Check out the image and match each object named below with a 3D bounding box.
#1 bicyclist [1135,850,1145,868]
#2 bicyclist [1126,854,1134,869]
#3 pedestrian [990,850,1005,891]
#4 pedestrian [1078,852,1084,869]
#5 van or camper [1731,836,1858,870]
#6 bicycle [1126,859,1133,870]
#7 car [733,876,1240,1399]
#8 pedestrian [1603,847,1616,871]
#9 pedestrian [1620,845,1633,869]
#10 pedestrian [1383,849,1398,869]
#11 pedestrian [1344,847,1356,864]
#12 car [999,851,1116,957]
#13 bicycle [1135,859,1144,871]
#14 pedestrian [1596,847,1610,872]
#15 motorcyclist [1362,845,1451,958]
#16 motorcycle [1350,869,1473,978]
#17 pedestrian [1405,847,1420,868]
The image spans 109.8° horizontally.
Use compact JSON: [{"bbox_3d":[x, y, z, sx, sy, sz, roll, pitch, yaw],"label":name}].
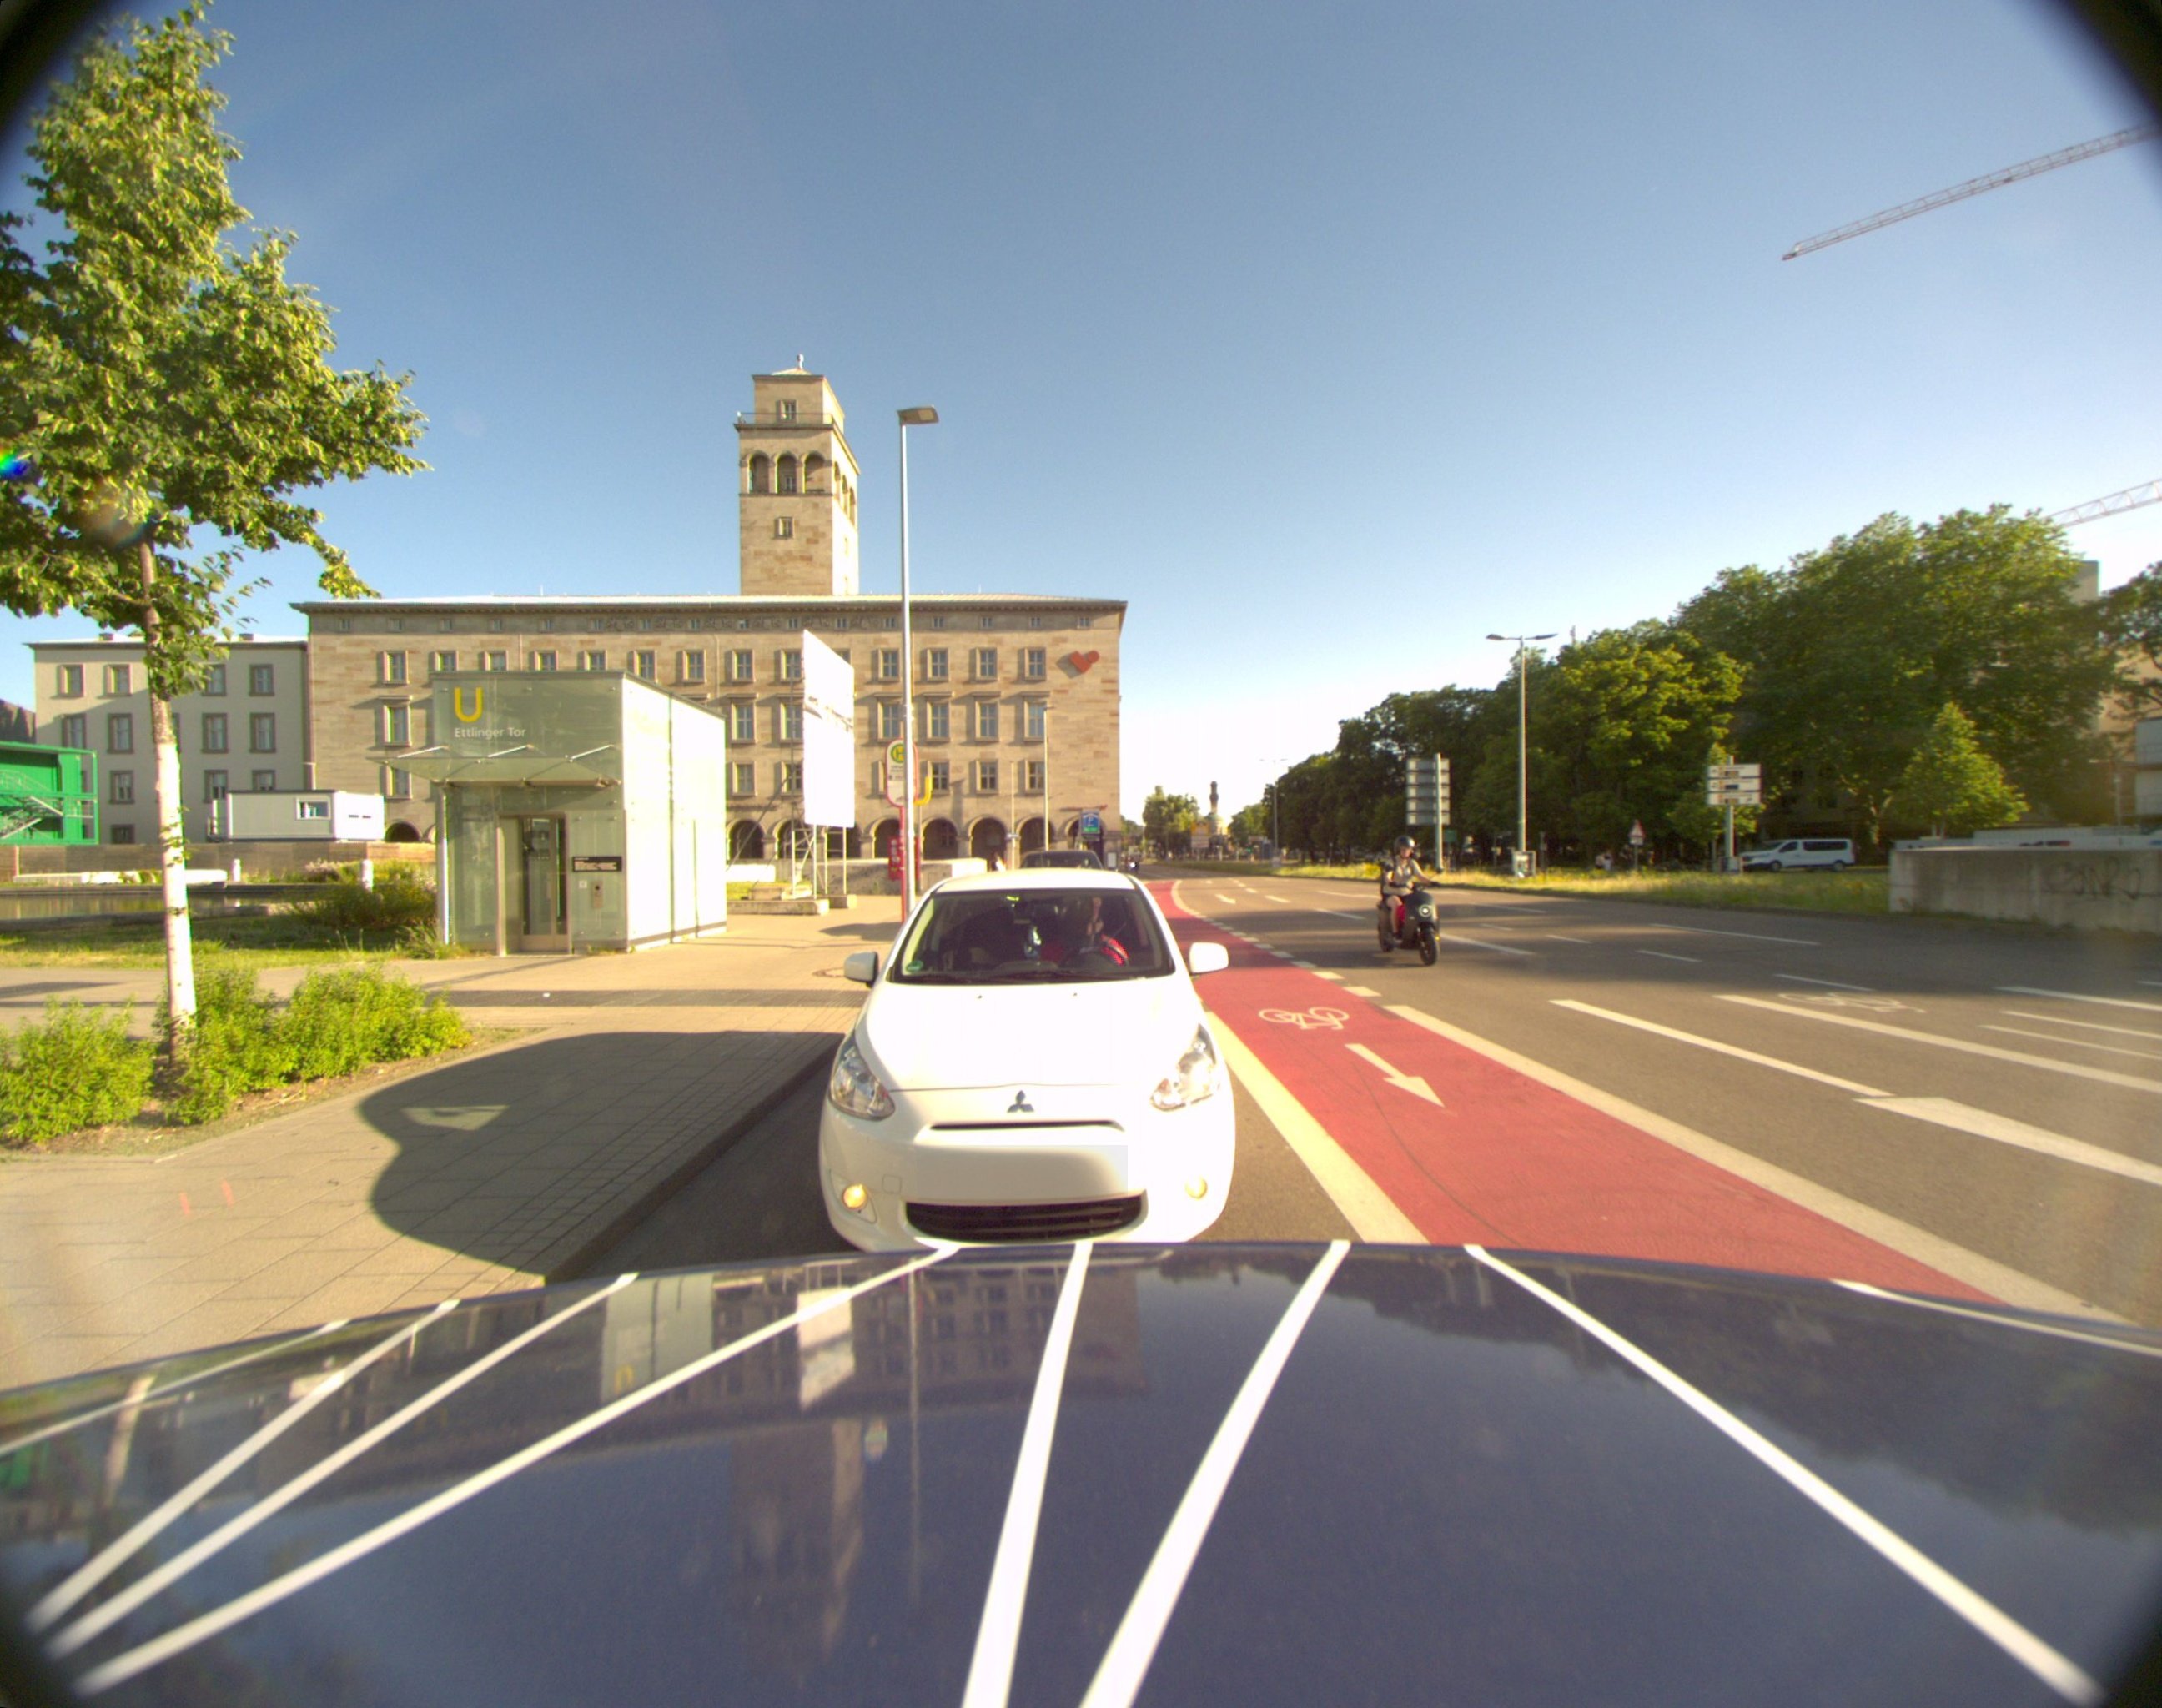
[{"bbox_3d":[5.590,0.502,71.993,0.807,1.690,0.852,-1,1,1],"label":"bicyclist"},{"bbox_3d":[5.307,0.795,82.505,0.823,1.568,0.877,-1,1,1],"label":"bicyclist"},{"bbox_3d":[-3.540,0.690,32.285,0.552,1.692,0.553,-1,1,-1],"label":"pedestrian"},{"bbox_3d":[-0.024,0.811,94.998,0.612,2.002,0.727,-2,1,0],"label":"pedestrian"},{"bbox_3d":[42.235,-0.046,45.060,5.499,1.934,1.951,-1,0,4],"label":"van or camper"},{"bbox_3d":[5.272,1.150,82.557,0.689,1.185,1.506,-1,1,1],"label":"bicycle"},{"bbox_3d":[-0.259,0.925,4.306,1.519,1.447,4.000,-1,0,1],"label":"car"},{"bbox_3d":[32.691,0.303,47.015,0.499,1.502,0.494,-1,1,1],"label":"pedestrian"},{"bbox_3d":[33.891,0.174,47.218,0.499,1.502,0.494,-1,1,1],"label":"pedestrian"},{"bbox_3d":[32.352,0.515,79.507,0.951,1.952,1.058,-2,1,-14],"label":"pedestrian"},{"bbox_3d":[32.455,0.164,91.591,0.842,2.002,0.955,-3,1,-35],"label":"pedestrian"},{"bbox_3d":[-0.350,0.786,14.051,1.833,1.660,4.000,-1,0,1],"label":"car"},{"bbox_3d":[5.577,1.058,72.140,0.741,1.140,1.890,-1,0,1],"label":"bicycle"},{"bbox_3d":[32.196,0.324,46.873,0.499,1.502,0.494,-1,1,1],"label":"pedestrian"},{"bbox_3d":[4.380,0.617,10.273,0.823,1.455,0.877,-1,1,1],"label":"motorcyclist"},{"bbox_3d":[4.367,0.863,10.215,0.828,1.273,1.944,-1,0,1],"label":"motorcycle"},{"bbox_3d":[32.302,0.337,74.066,1.126,1.952,0.815,-2,1,1],"label":"pedestrian"}]
